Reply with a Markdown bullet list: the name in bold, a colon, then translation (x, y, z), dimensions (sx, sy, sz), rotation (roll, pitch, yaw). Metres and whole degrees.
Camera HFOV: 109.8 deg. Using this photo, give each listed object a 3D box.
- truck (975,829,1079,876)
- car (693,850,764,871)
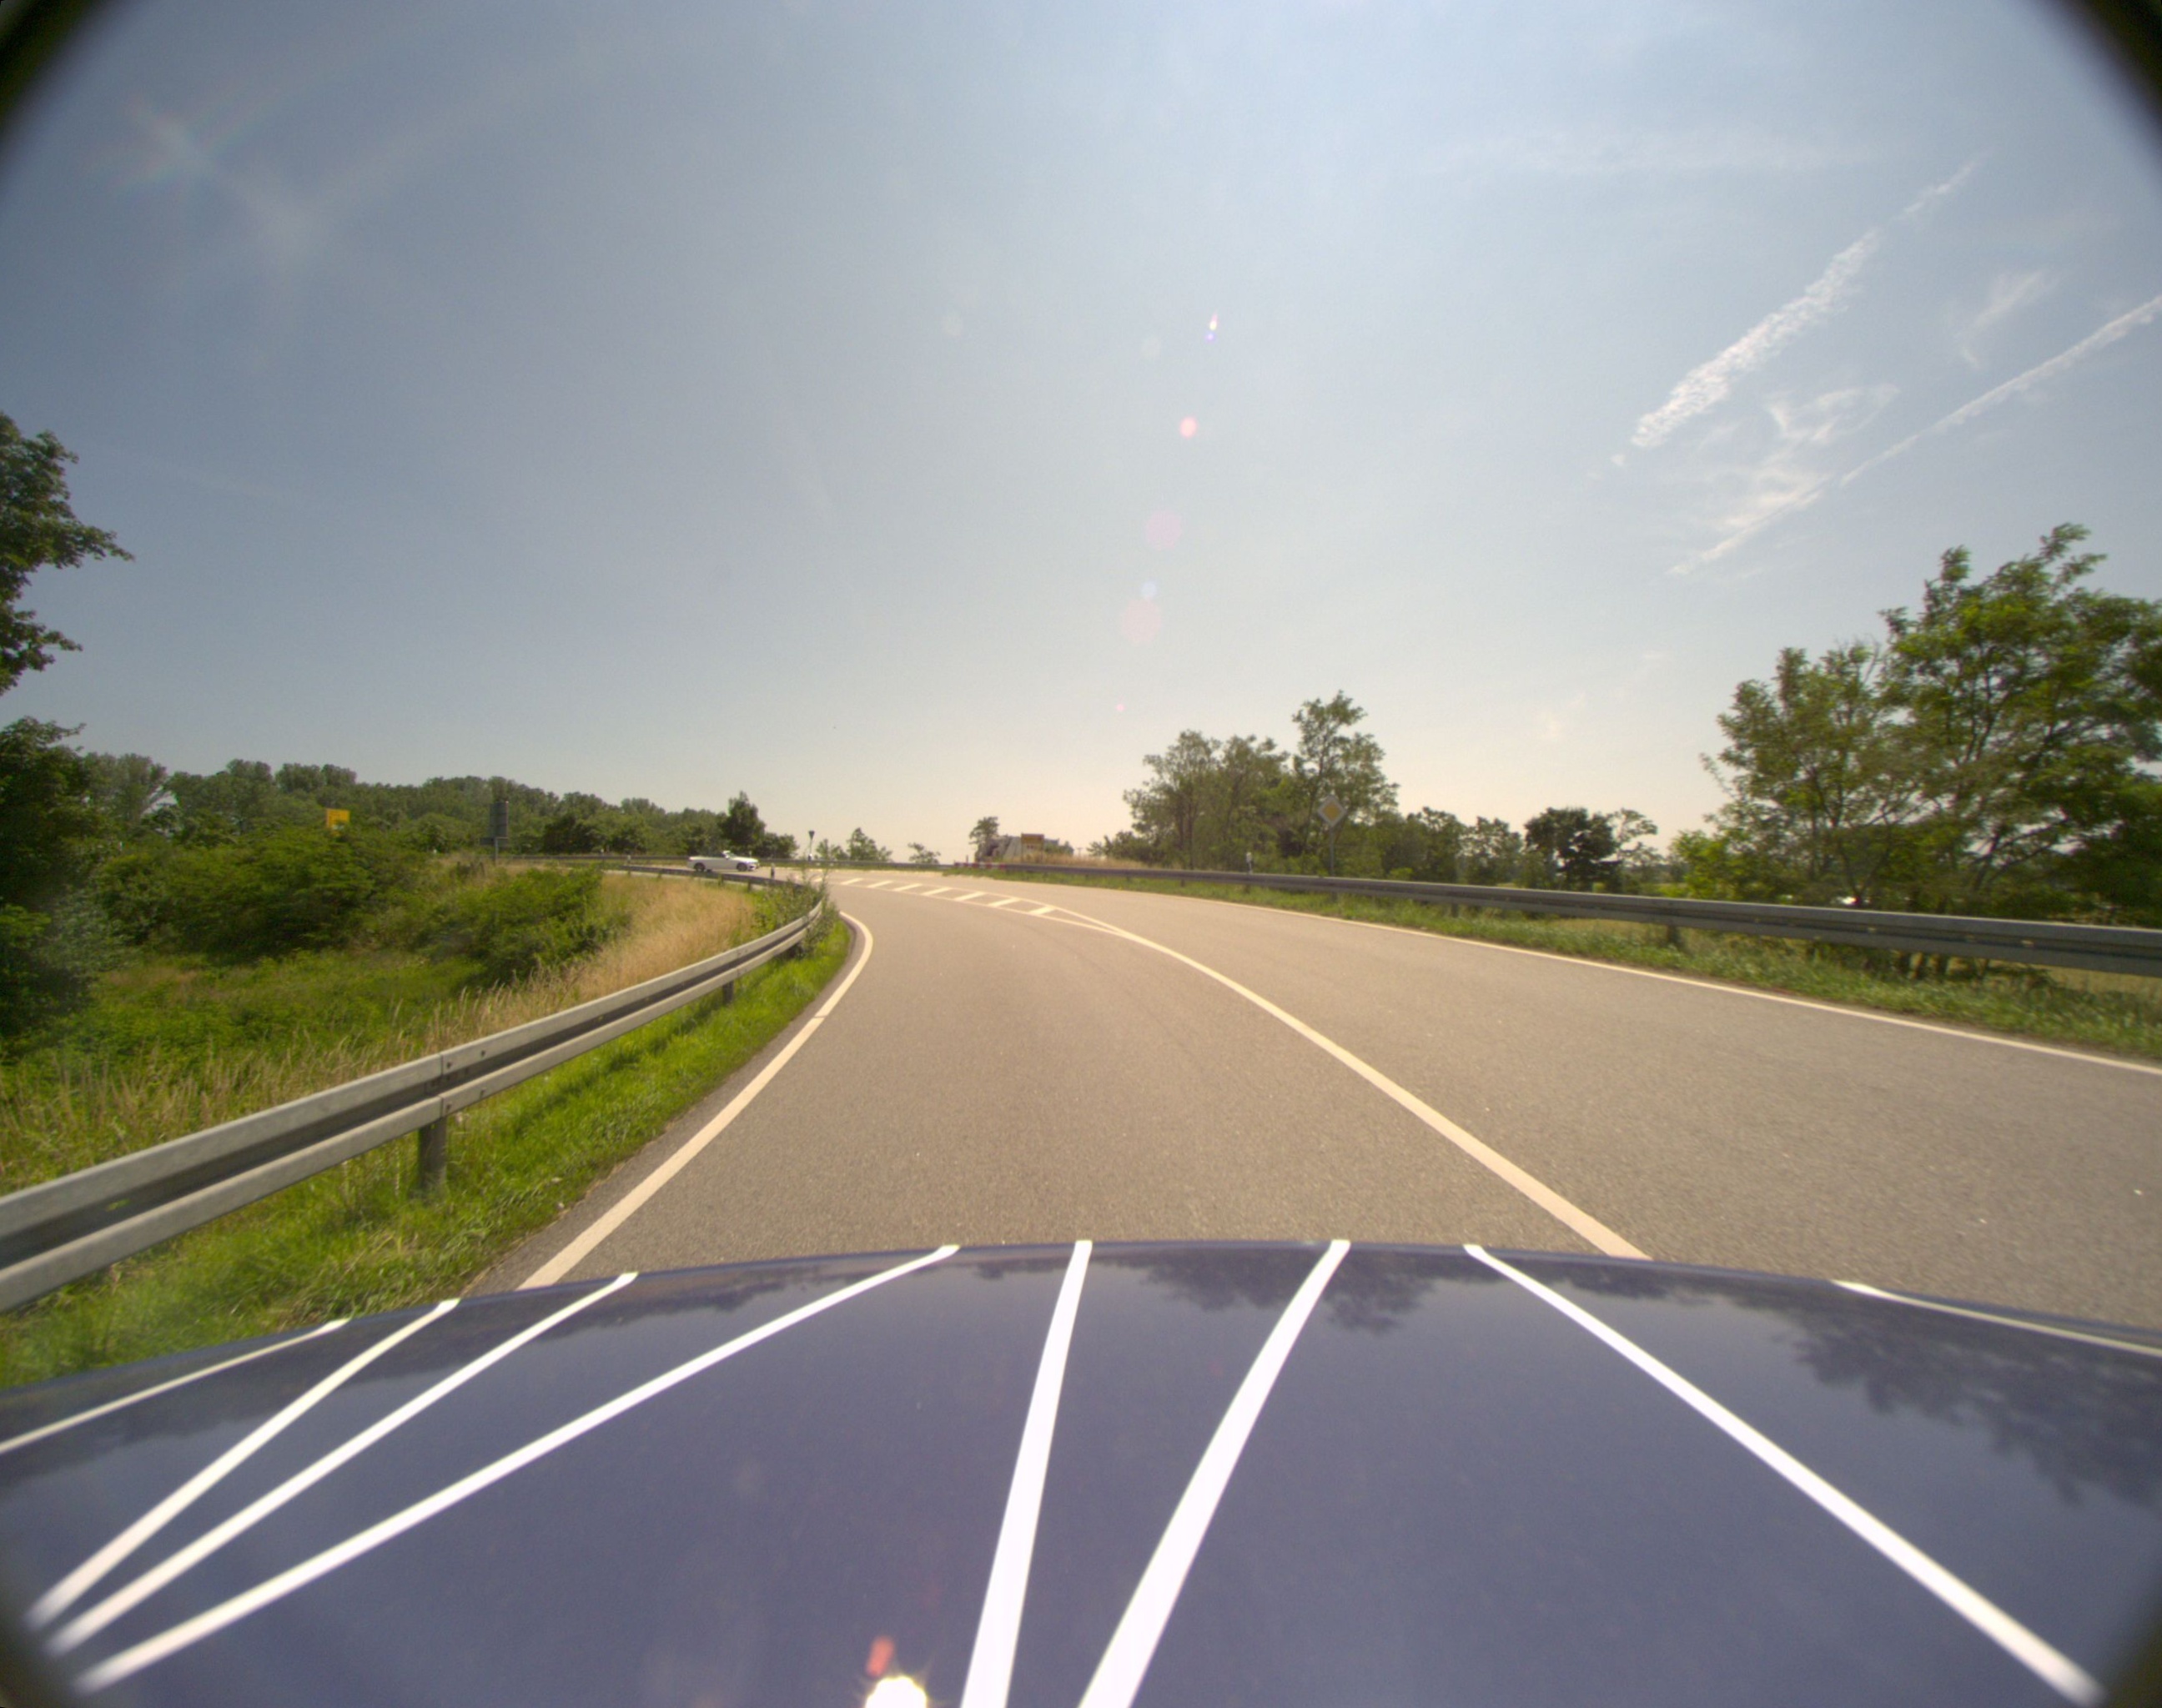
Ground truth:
- **truck**: translation (-4.646, -0.037, 68.104), dimensions (2.814, 3.646, 9.973), rotation (1, -3, 42)
- **car**: translation (-24.577, 0.457, 53.126), dimensions (4.109, 1.407, 1.814), rotation (-1, 0, -6)
